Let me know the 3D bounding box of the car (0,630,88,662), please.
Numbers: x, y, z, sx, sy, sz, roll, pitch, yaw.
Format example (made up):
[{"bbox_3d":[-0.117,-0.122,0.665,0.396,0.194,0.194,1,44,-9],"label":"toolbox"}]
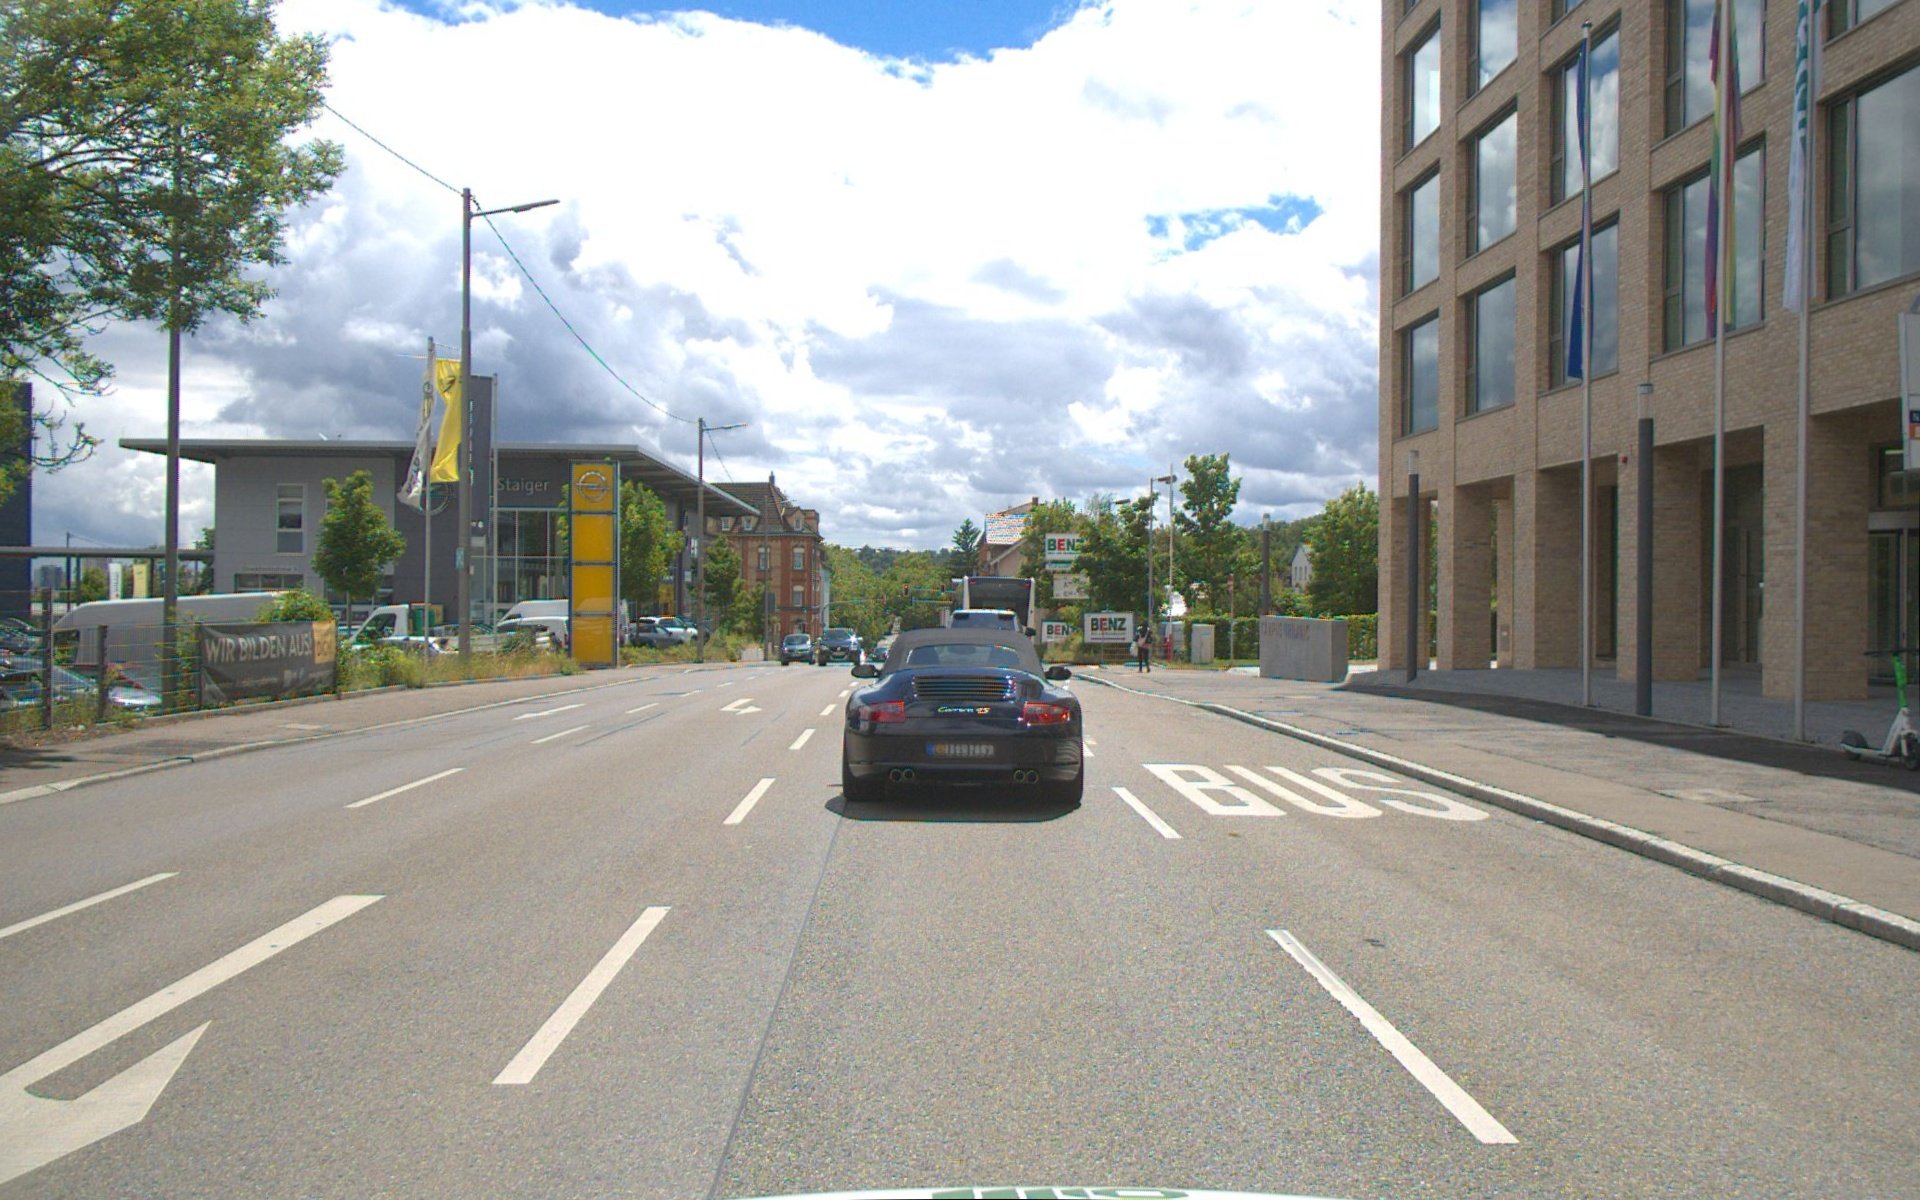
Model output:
[{"bbox_3d":[-38.868,1.929,69.799,3.415,1.306,1.653,0,0,-20],"label":"car"}]

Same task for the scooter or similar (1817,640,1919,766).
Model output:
[{"bbox_3d":[9.142,0.998,16.498,0.418,1.173,1.403,0,-1,-2],"label":"scooter or similar"}]

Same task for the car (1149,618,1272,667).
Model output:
[{"bbox_3d":[10.397,1.765,68.731,4.620,1.881,2.084,-1,-2,-9],"label":"car"}]

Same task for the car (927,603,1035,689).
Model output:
[{"bbox_3d":[0.353,0.882,33.404,1.892,1.611,4.205,0,0,-3],"label":"car"}]

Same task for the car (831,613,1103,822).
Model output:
[{"bbox_3d":[0.040,0.840,13.676,1.891,1.401,4.207,0,0,0],"label":"car"}]

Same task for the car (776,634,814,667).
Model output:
[{"bbox_3d":[-8.635,2.627,86.692,1.709,1.623,4.040,-2,-1,-3],"label":"car"}]

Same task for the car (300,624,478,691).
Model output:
[{"bbox_3d":[-14.329,1.443,41.662,3.807,1.638,1.927,0,-2,-2],"label":"car"}]

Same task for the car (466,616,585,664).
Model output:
[{"bbox_3d":[-16.450,1.496,62.719,3.903,1.736,2.001,0,0,4],"label":"car"}]

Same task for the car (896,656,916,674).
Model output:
[{"bbox_3d":[-5.267,6.335,160.973,1.826,1.695,4.256,0,-2,-2],"label":"car"}]

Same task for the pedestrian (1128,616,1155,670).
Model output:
[{"bbox_3d":[5.279,1.254,48.176,0.673,1.563,0.856,0,-1,-2],"label":"pedestrian"}]

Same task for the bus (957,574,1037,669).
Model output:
[{"bbox_3d":[1.285,0.706,62.702,2.744,3.254,12.195,0,0,0],"label":"bus"}]

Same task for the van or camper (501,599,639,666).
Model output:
[{"bbox_3d":[-15.343,1.263,65.358,4.926,2.575,2.317,0,0,-2],"label":"van or camper"}]

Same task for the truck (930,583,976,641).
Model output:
[{"bbox_3d":[-0.469,0.801,99.793,2.612,3.163,9.031,-1,-2,-1],"label":"truck"}]

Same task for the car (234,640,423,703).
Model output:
[{"bbox_3d":[-13.907,1.575,36.550,3.472,1.348,1.711,0,-2,2],"label":"car"}]

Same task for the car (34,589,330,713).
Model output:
[{"bbox_3d":[-13.362,0.851,28.643,4.078,2.049,2.197,0,0,-4],"label":"car"}]

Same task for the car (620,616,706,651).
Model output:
[{"bbox_3d":[-14.158,1.632,79.091,1.891,1.600,4.552,-1,-2,22],"label":"car"}]

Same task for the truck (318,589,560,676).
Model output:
[{"bbox_3d":[-13.841,0.892,44.304,5.746,2.185,2.474,-1,-2,-5],"label":"truck"}]

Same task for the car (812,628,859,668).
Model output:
[{"bbox_3d":[-5.007,1.939,66.988,1.793,1.535,4.273,0,-2,-3],"label":"car"}]

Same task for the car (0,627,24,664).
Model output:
[{"bbox_3d":[-38.744,1.784,64.747,3.415,1.422,1.653,0,0,-20],"label":"car"}]

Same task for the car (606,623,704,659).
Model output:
[{"bbox_3d":[-13.662,1.812,74.324,1.857,1.476,4.828,0,0,26],"label":"car"}]

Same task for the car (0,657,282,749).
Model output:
[{"bbox_3d":[-13.215,1.617,26.409,3.952,1.411,1.927,0,-2,-3],"label":"car"}]

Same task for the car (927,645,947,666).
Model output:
[{"bbox_3d":[-2.210,5.233,157.120,1.796,1.915,3.997,0,-1,-3],"label":"car"}]
